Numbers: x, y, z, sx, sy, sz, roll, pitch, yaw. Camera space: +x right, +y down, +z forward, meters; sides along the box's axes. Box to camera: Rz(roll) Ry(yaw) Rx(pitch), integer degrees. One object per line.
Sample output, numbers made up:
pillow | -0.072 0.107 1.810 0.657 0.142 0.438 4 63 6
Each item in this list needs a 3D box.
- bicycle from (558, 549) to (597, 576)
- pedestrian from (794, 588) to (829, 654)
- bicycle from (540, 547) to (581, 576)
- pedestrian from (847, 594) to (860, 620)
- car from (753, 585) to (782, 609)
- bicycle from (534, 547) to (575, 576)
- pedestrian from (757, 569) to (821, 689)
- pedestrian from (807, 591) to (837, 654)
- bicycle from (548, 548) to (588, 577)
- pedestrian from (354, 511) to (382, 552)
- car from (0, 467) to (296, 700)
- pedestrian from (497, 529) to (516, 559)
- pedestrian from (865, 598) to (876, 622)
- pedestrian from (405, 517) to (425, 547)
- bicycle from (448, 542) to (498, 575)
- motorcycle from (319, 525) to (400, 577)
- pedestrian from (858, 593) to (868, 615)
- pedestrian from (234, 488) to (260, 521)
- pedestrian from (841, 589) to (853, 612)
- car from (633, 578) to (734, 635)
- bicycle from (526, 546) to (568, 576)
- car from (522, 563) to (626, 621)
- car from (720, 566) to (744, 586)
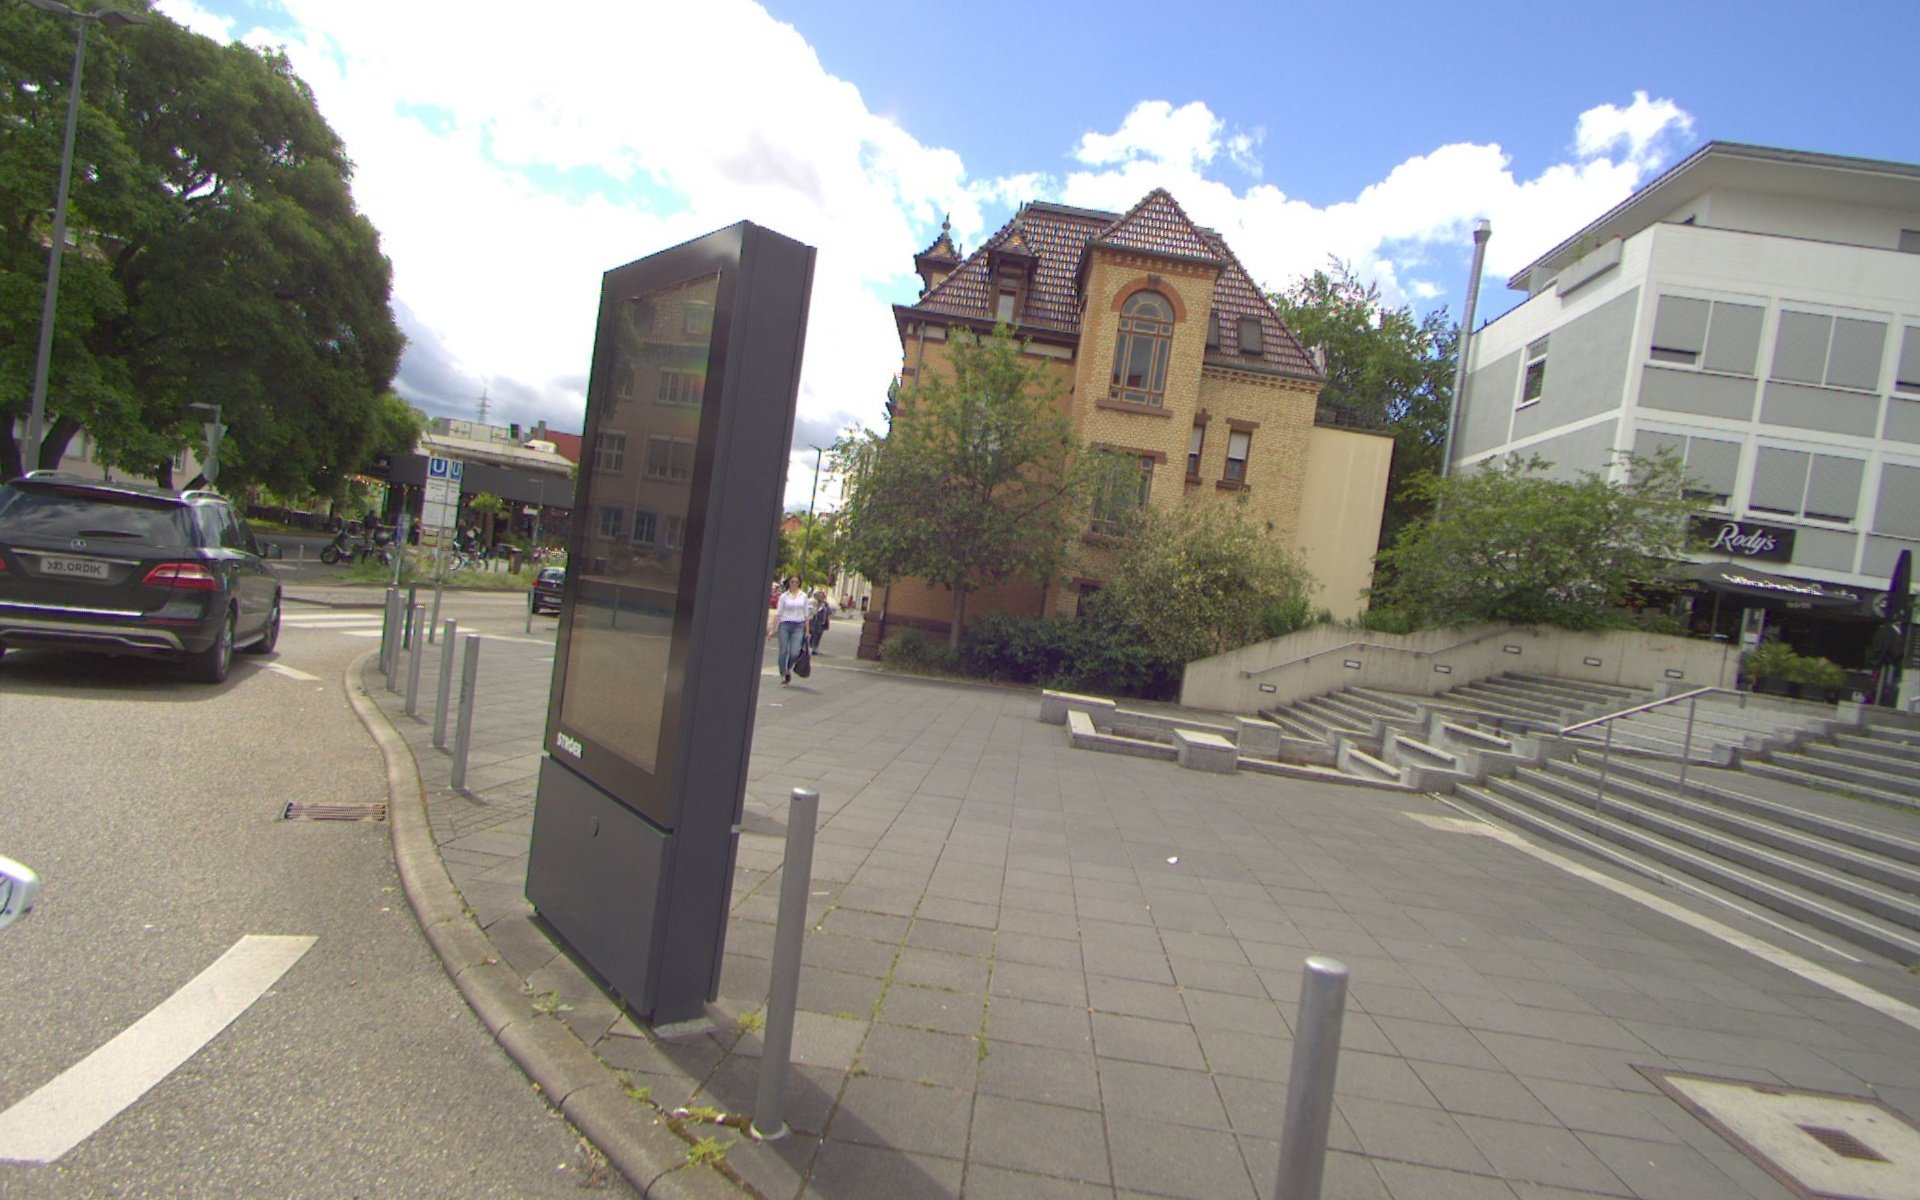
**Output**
bicycle | -18.477 -1.806 48.637 1.544 1.104 0.578 8 1 -1
pedestrian | -3.904 0.546 26.453 0.548 1.649 0.672 6 0 -29
bicycle | -18.520 -1.774 46.701 1.544 1.104 0.578 8 1 -1
pedestrian | -7.343 0.473 69.263 0.652 1.703 0.568 8 1 0
car | -13.317 -0.247 69.782 1.586 1.400 3.830 7 0 -8
bicycle | -18.516 -1.751 45.971 1.544 1.082 0.539 8 1 -1
pedestrian | -2.688 0.446 15.748 0.697 1.768 0.773 6 1 -19
pedestrian | -3.726 0.617 27.144 0.496 1.649 0.510 7 0 12
bicycle | -18.571 -1.778 47.704 1.544 1.104 0.578 8 1 -1
pedestrian | -24.947 -2.873 42.393 0.572 1.597 0.616 8 1 22
car | -8.238 -0.243 10.091 2.010 1.749 4.402 7 0 -27
pedestrian | -23.970 -2.962 53.178 0.572 1.482 0.616 7 1 7
pedestrian | -6.543 0.706 73.551 0.550 1.712 0.638 8 1 -5
pedestrian | -26.886 -3.357 49.617 0.574 1.397 0.614 7 1 -14
bicycle | -18.542 -1.568 38.336 1.586 1.009 0.500 8 1 4
motorcycle | -19.201 -1.554 32.192 2.100 1.306 0.582 9 3 0
pedestrian | -7.589 0.305 78.724 0.550 1.703 0.567 8 1 -5
pedestrian | -39.141 -5.217 55.221 0.774 1.648 0.636 7 1 -3
pedestrian | -8.893 0.041 79.063 0.553 1.703 0.565 7 1 -24
car | -8.449 0.206 31.137 1.828 1.423 4.374 7 -1 0
bicycle | -18.554 -1.763 45.200 1.544 1.104 0.578 8 1 -1
car | -11.297 -0.220 29.730 1.584 1.400 3.834 7 0 -2
car | -23.343 -2.483 102.802 1.821 1.626 3.982 10 0 -18
